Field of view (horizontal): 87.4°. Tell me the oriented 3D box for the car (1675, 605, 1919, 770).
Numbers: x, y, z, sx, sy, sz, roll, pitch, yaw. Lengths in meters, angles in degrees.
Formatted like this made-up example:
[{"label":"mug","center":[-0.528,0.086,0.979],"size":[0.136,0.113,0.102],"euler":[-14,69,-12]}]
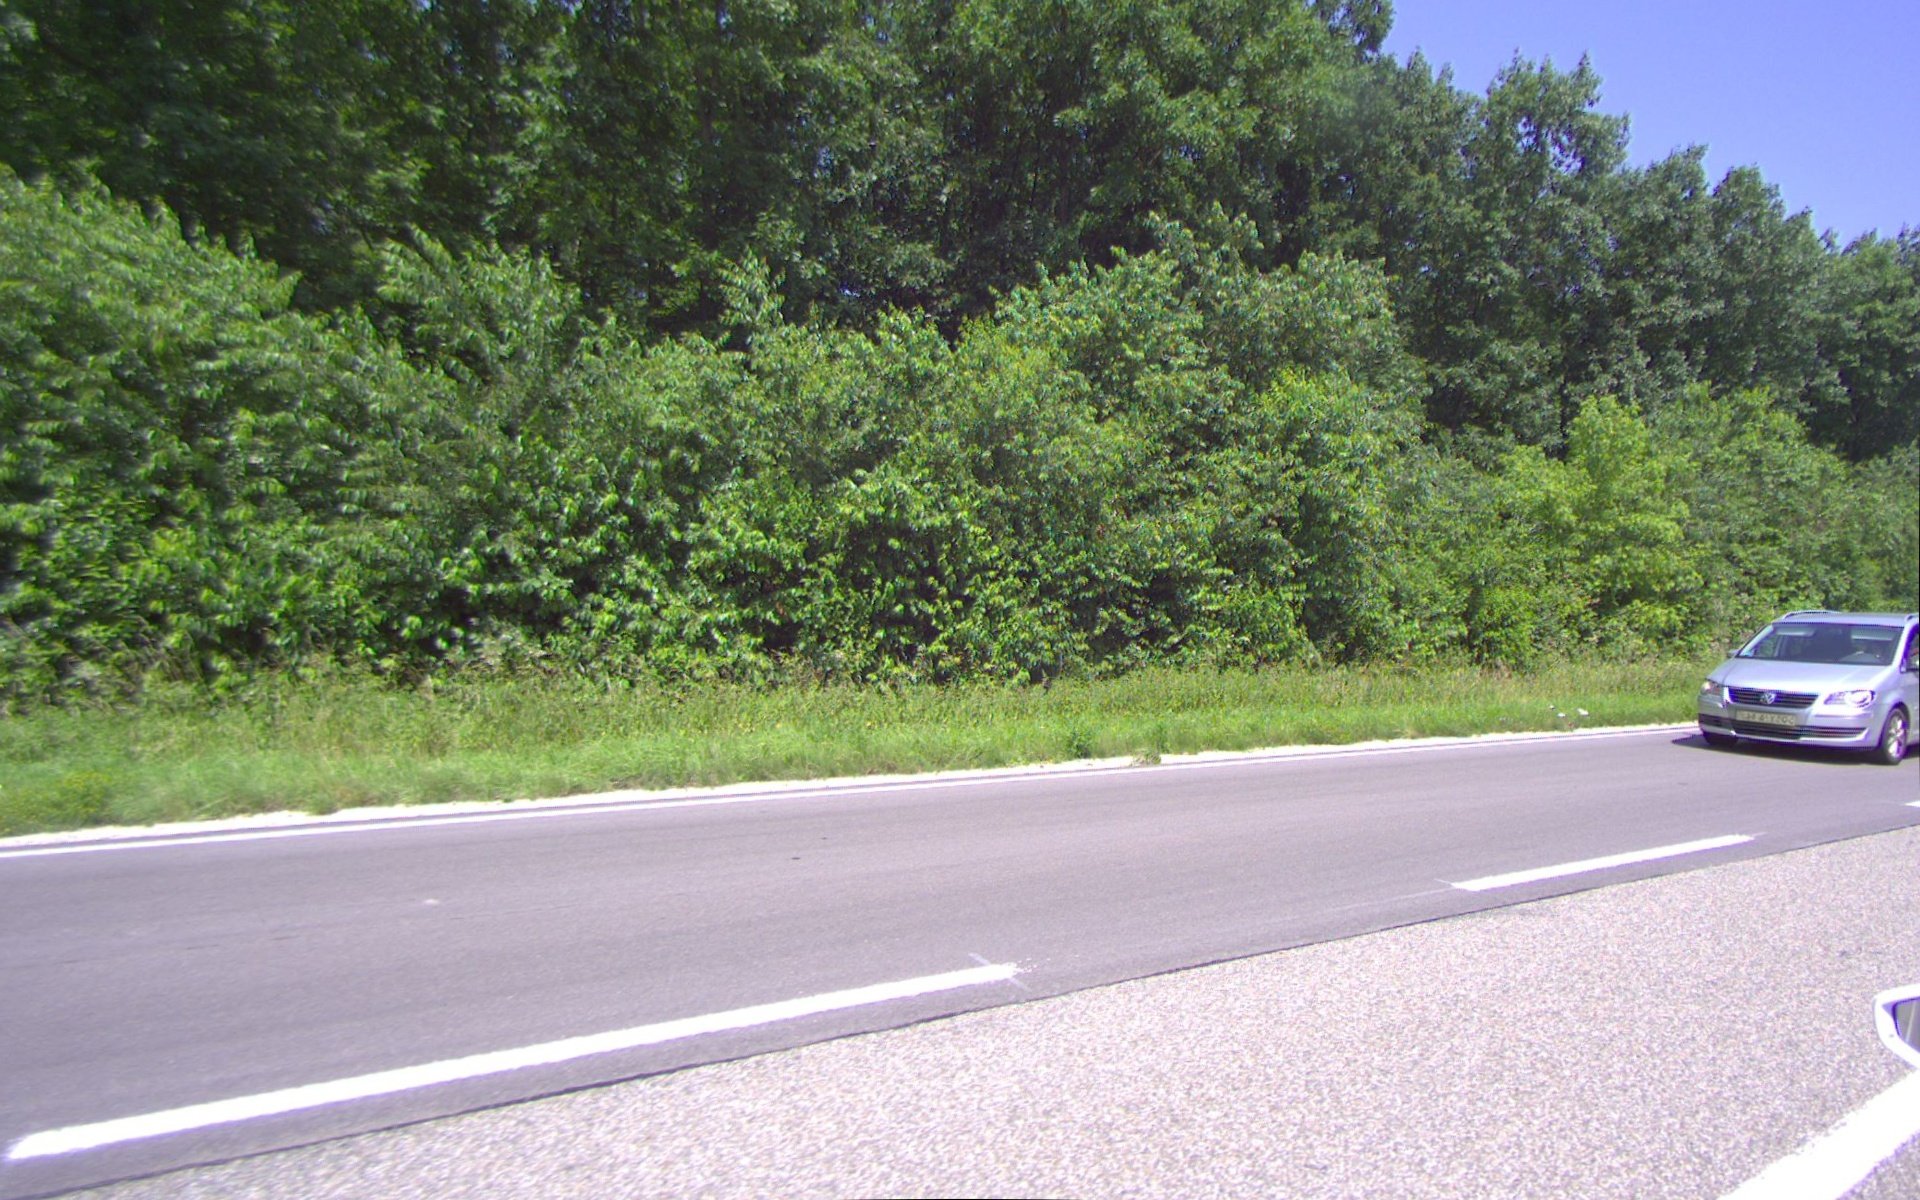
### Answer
[{"label":"car","center":[10.685,0.952,12.172],"size":[4.164,1.658,1.793],"euler":[1,0,-32]}]
